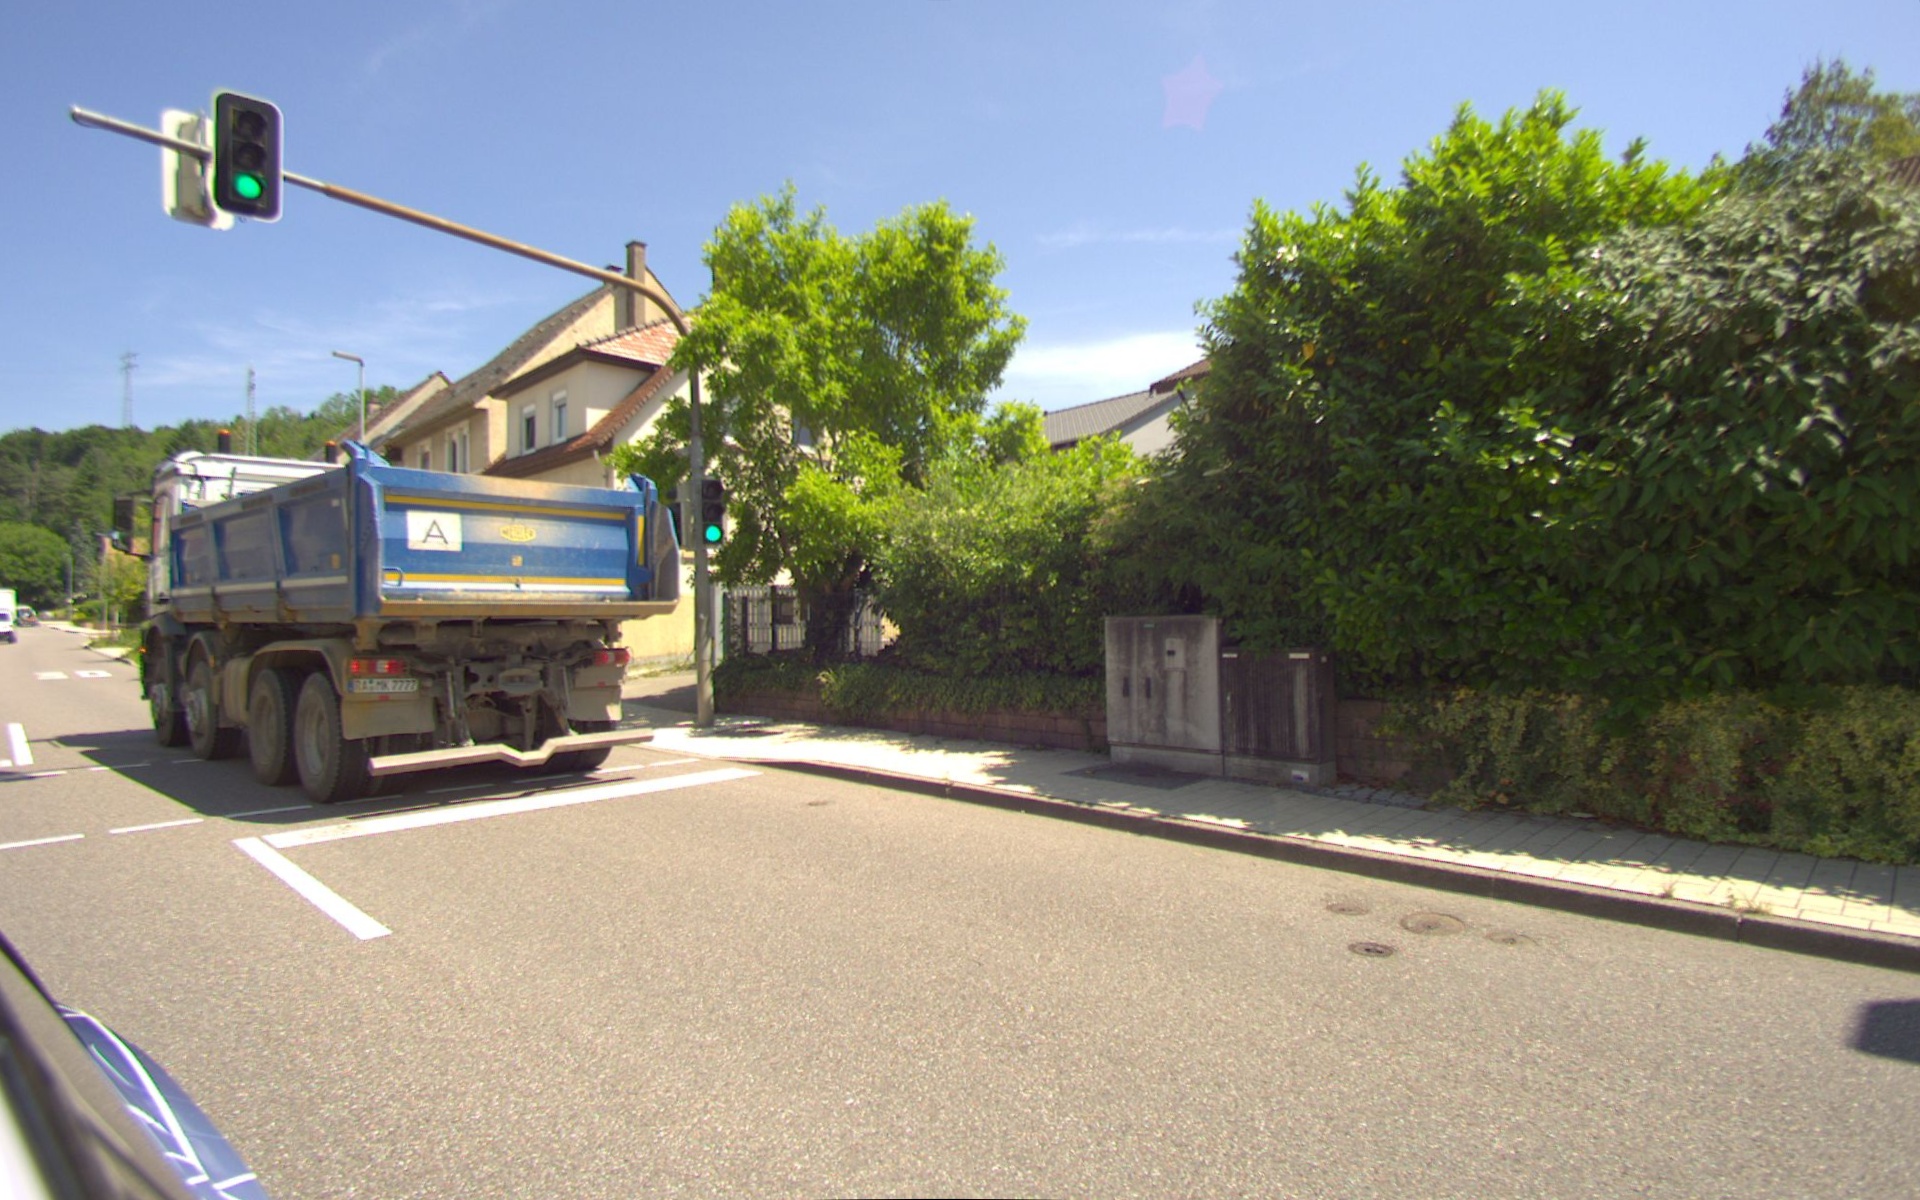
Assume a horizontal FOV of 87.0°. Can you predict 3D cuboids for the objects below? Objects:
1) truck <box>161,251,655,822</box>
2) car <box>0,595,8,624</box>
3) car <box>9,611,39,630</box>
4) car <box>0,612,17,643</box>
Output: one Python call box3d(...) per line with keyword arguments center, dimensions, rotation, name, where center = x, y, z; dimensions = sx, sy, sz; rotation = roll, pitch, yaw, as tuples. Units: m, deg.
box3d(center=(-6.385, -0.326, 10.695), dimensions=(2.511, 3.766, 8.630), rotation=(2, -2, -43), name="truck")
box3d(center=(-73.569, 0.730, 76.680), dimensions=(1.957, 2.199, 4.006), rotation=(-1, 0, -41), name="car")
box3d(center=(-106.880, 2.346, 115.582), dimensions=(2.337, 2.016, 5.180), rotation=(-1, 1, -41), name="car")
box3d(center=(-56.328, 1.602, 58.842), dimensions=(4.001, 1.739, 1.971), rotation=(-1, 0, 44), name="car")
